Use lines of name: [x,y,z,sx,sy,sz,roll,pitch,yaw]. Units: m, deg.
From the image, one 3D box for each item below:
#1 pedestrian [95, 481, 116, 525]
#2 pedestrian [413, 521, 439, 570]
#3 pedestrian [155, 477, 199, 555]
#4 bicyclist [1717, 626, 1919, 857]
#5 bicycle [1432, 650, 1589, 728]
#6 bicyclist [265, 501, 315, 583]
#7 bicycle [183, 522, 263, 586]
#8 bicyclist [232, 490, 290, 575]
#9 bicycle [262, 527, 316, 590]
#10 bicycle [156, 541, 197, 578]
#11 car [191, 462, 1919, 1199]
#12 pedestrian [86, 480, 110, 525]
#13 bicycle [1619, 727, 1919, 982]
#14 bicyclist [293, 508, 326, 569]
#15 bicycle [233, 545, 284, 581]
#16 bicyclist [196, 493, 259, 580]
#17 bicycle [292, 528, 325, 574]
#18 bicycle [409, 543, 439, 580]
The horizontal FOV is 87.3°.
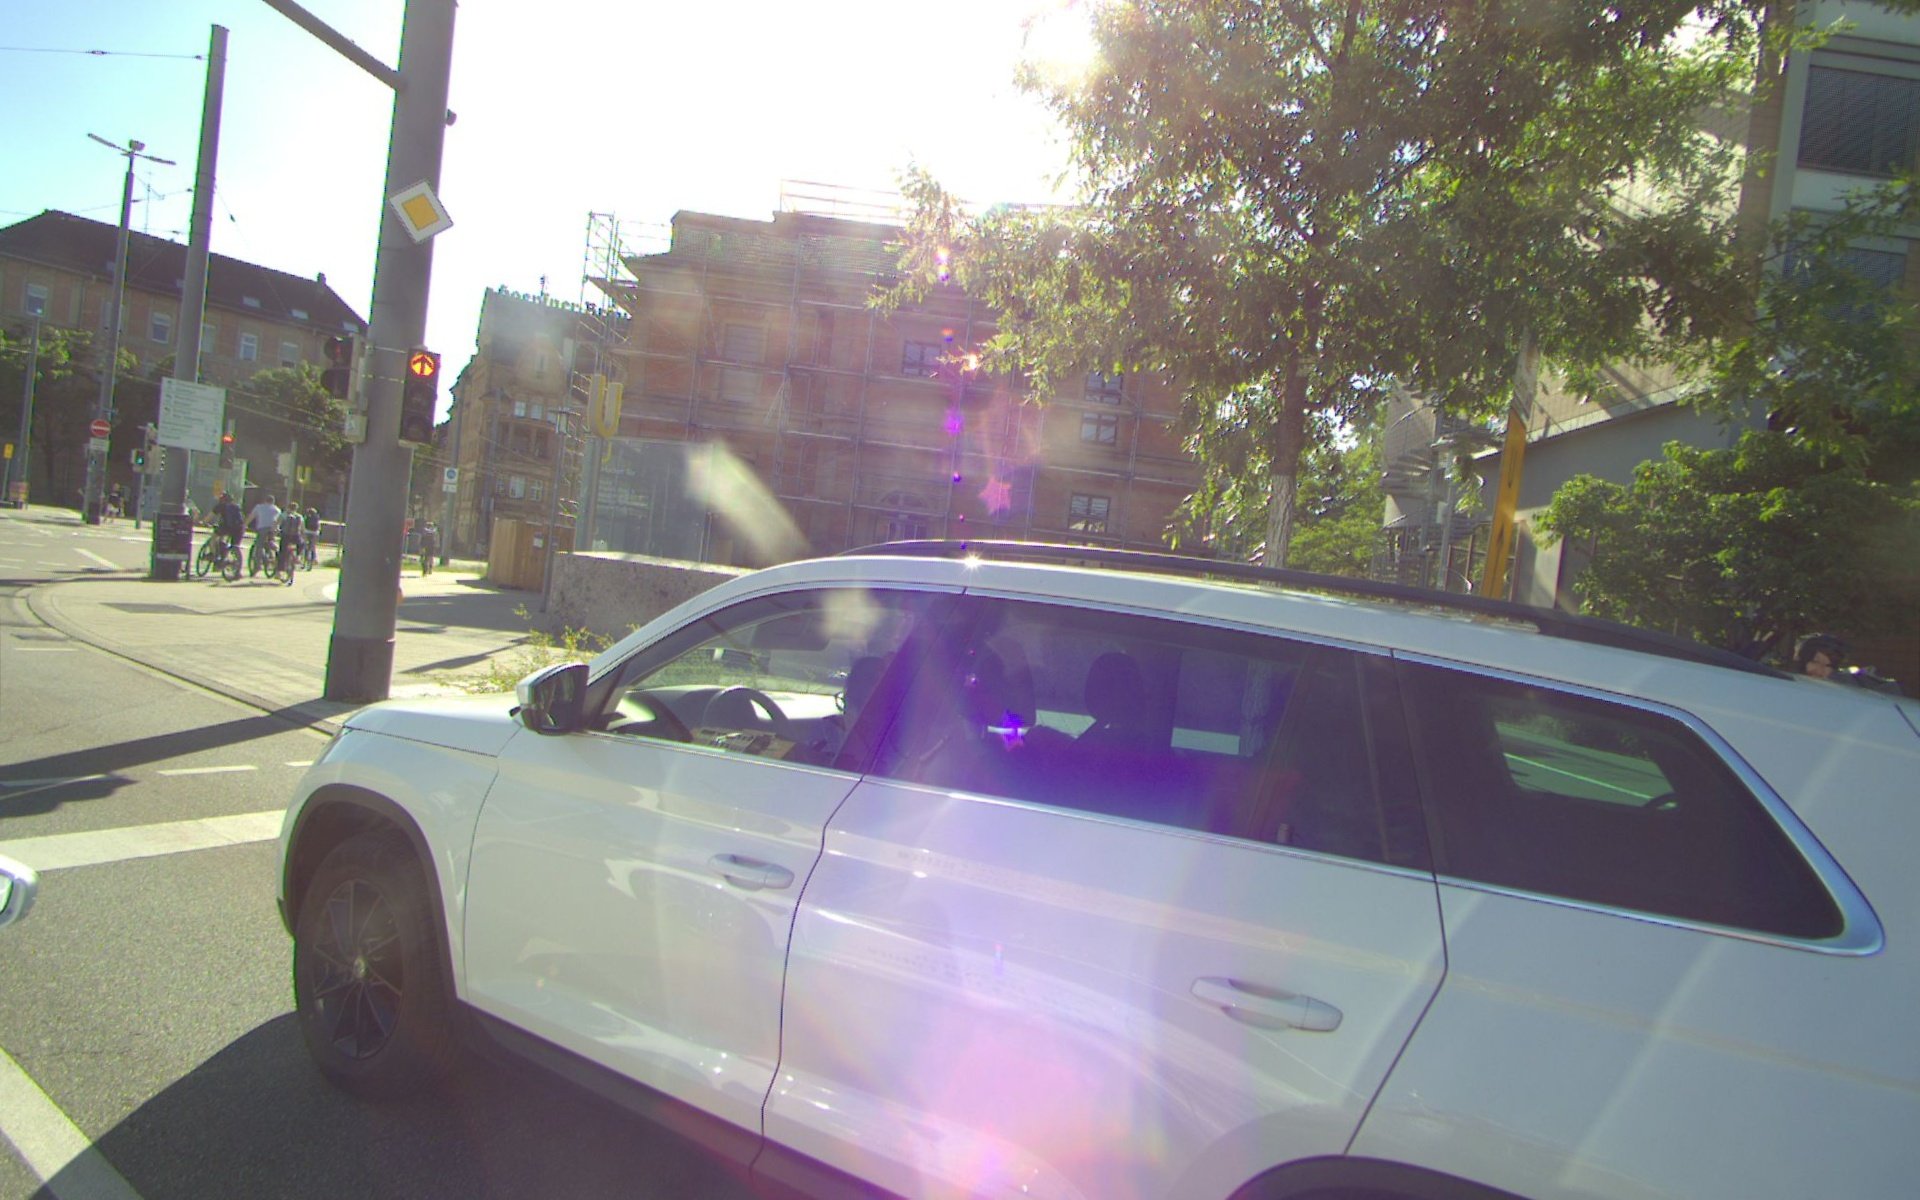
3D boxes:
pedestrian: [-41.406,-4.681,48.758,0.443,2.039,0.462,7,2,14]
pedestrian: [-16.245,-1.665,30.622,0.510,1.421,0.956,5,2,-21]
pedestrian: [-16.976,-1.824,21.807,0.546,1.582,0.847,6,1,-43]
bicyclist: [5.630,0.869,6.567,0.892,1.296,0.720,7,3,32]
bicycle: [13.088,2.104,24.001,3.079,1.395,0.798,7,1,8]
bicyclist: [-14.072,-1.226,21.122,0.682,1.620,0.966,3,3,-41]
bicycle: [-15.166,-0.958,20.695,1.820,1.128,0.626,7,2,32]
bicyclist: [-15.824,-1.533,22.784,0.910,1.802,0.746,8,2,39]
bicycle: [-14.114,-0.891,21.144,0.682,1.179,1.861,3,3,-41]
bicycle: [-17.037,-0.892,21.861,0.534,0.664,1.704,3,3,-43]
car: [-0.002,0.691,2.688,4.224,1.662,1.697,7,0,30]
pedestrian: [-41.244,-4.680,48.144,0.443,2.039,0.574,7,1,14]
bicycle: [5.494,1.627,6.605,1.804,1.234,0.690,7,3,32]
bicyclist: [-18.156,-1.716,28.067,0.568,1.588,0.937,7,1,-37]
bicycle: [-15.933,-0.835,22.845,1.446,0.664,0.536,7,2,39]
bicyclist: [-15.018,-1.302,20.617,0.978,1.659,0.626,7,2,32]
bicycle: [-18.153,-1.382,28.017,0.568,1.139,1.722,7,0,-37]
bicycle: [-16.275,-1.182,30.578,0.510,1.058,1.759,5,2,-21]
